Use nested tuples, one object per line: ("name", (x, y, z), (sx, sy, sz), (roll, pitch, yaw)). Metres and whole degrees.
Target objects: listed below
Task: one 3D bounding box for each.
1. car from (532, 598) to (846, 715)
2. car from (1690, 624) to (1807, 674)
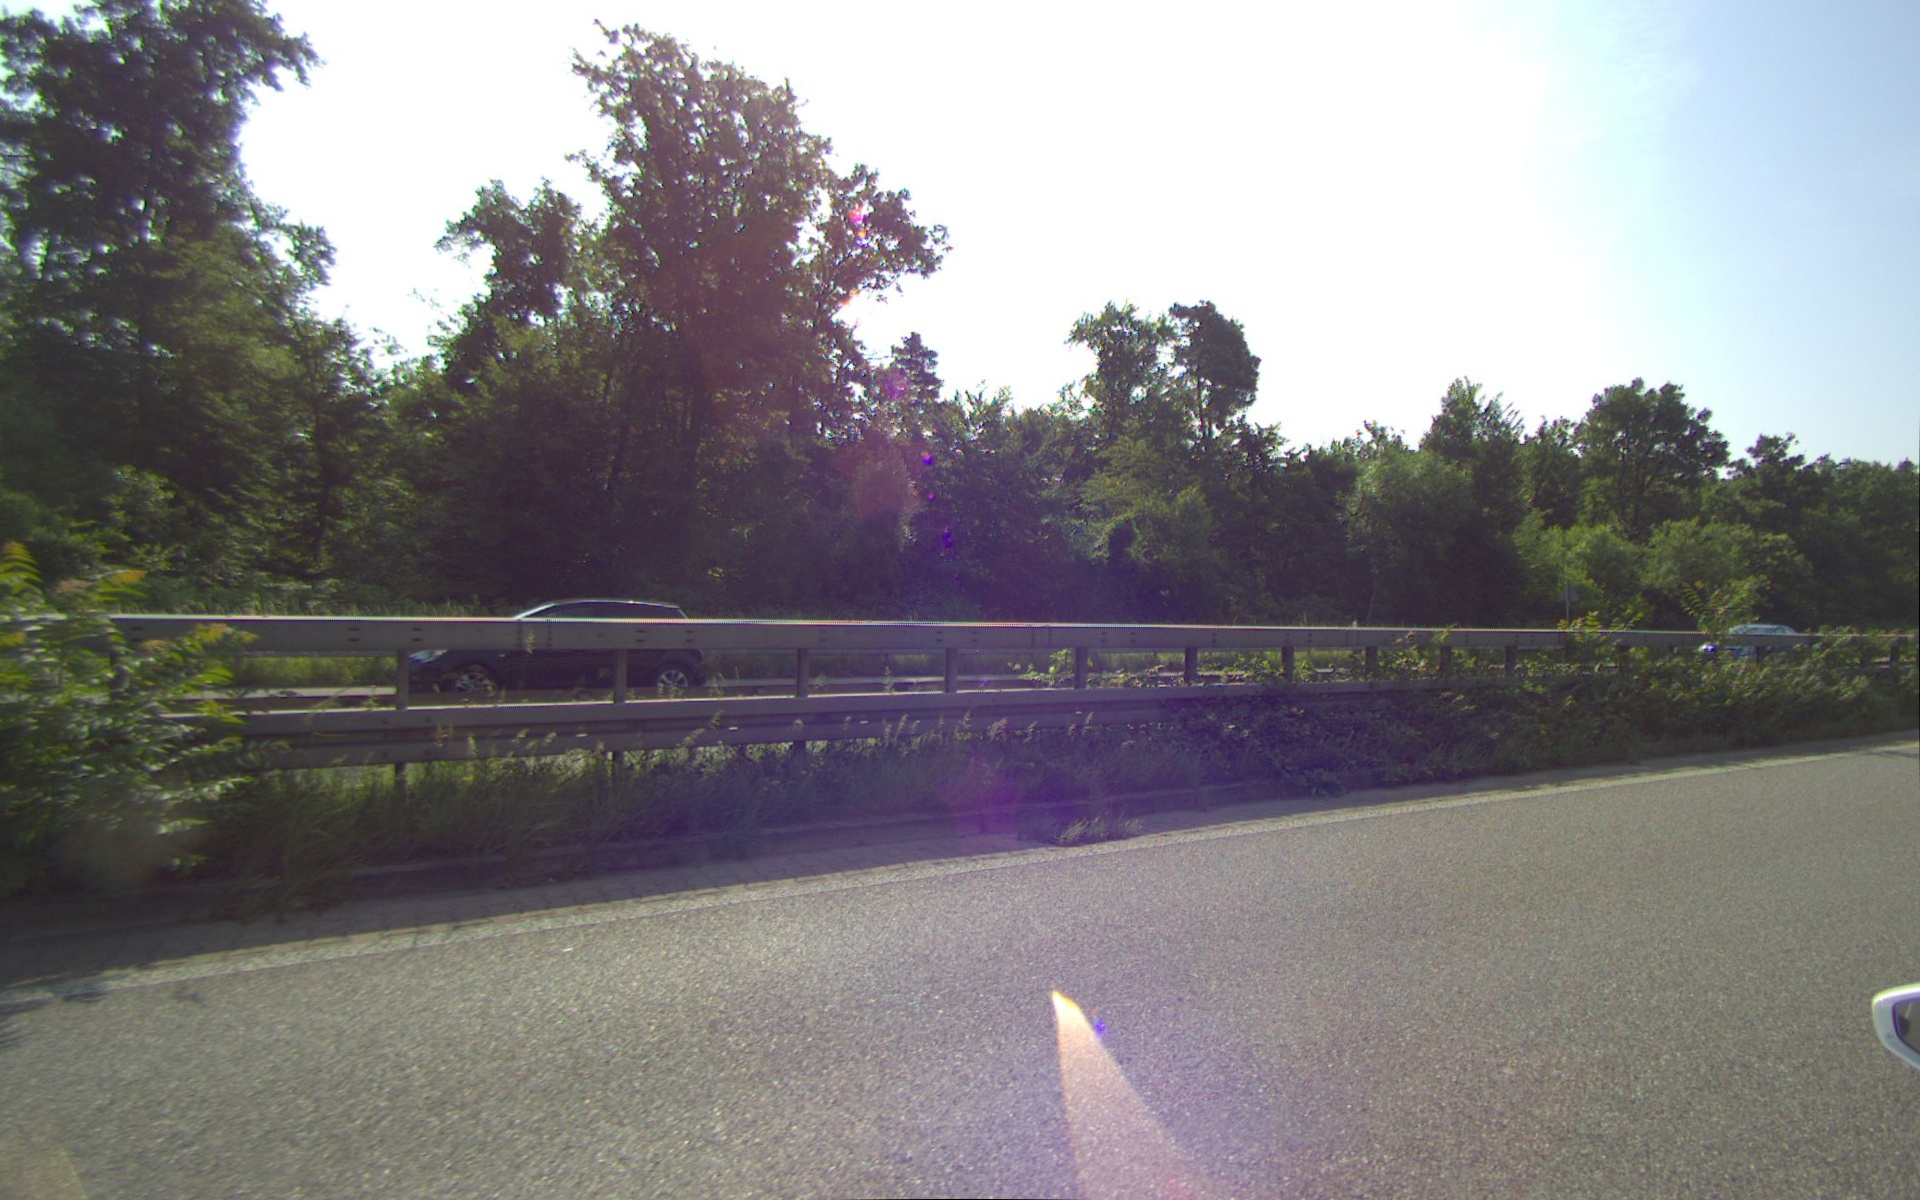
("car", (-3.898, 0.771, 14.633), (4.160, 1.491, 1.617), (1, 0, -29))
("car", (25.022, 1.533, 31.865), (3.862, 1.448, 1.550), (1, 0, -29))
